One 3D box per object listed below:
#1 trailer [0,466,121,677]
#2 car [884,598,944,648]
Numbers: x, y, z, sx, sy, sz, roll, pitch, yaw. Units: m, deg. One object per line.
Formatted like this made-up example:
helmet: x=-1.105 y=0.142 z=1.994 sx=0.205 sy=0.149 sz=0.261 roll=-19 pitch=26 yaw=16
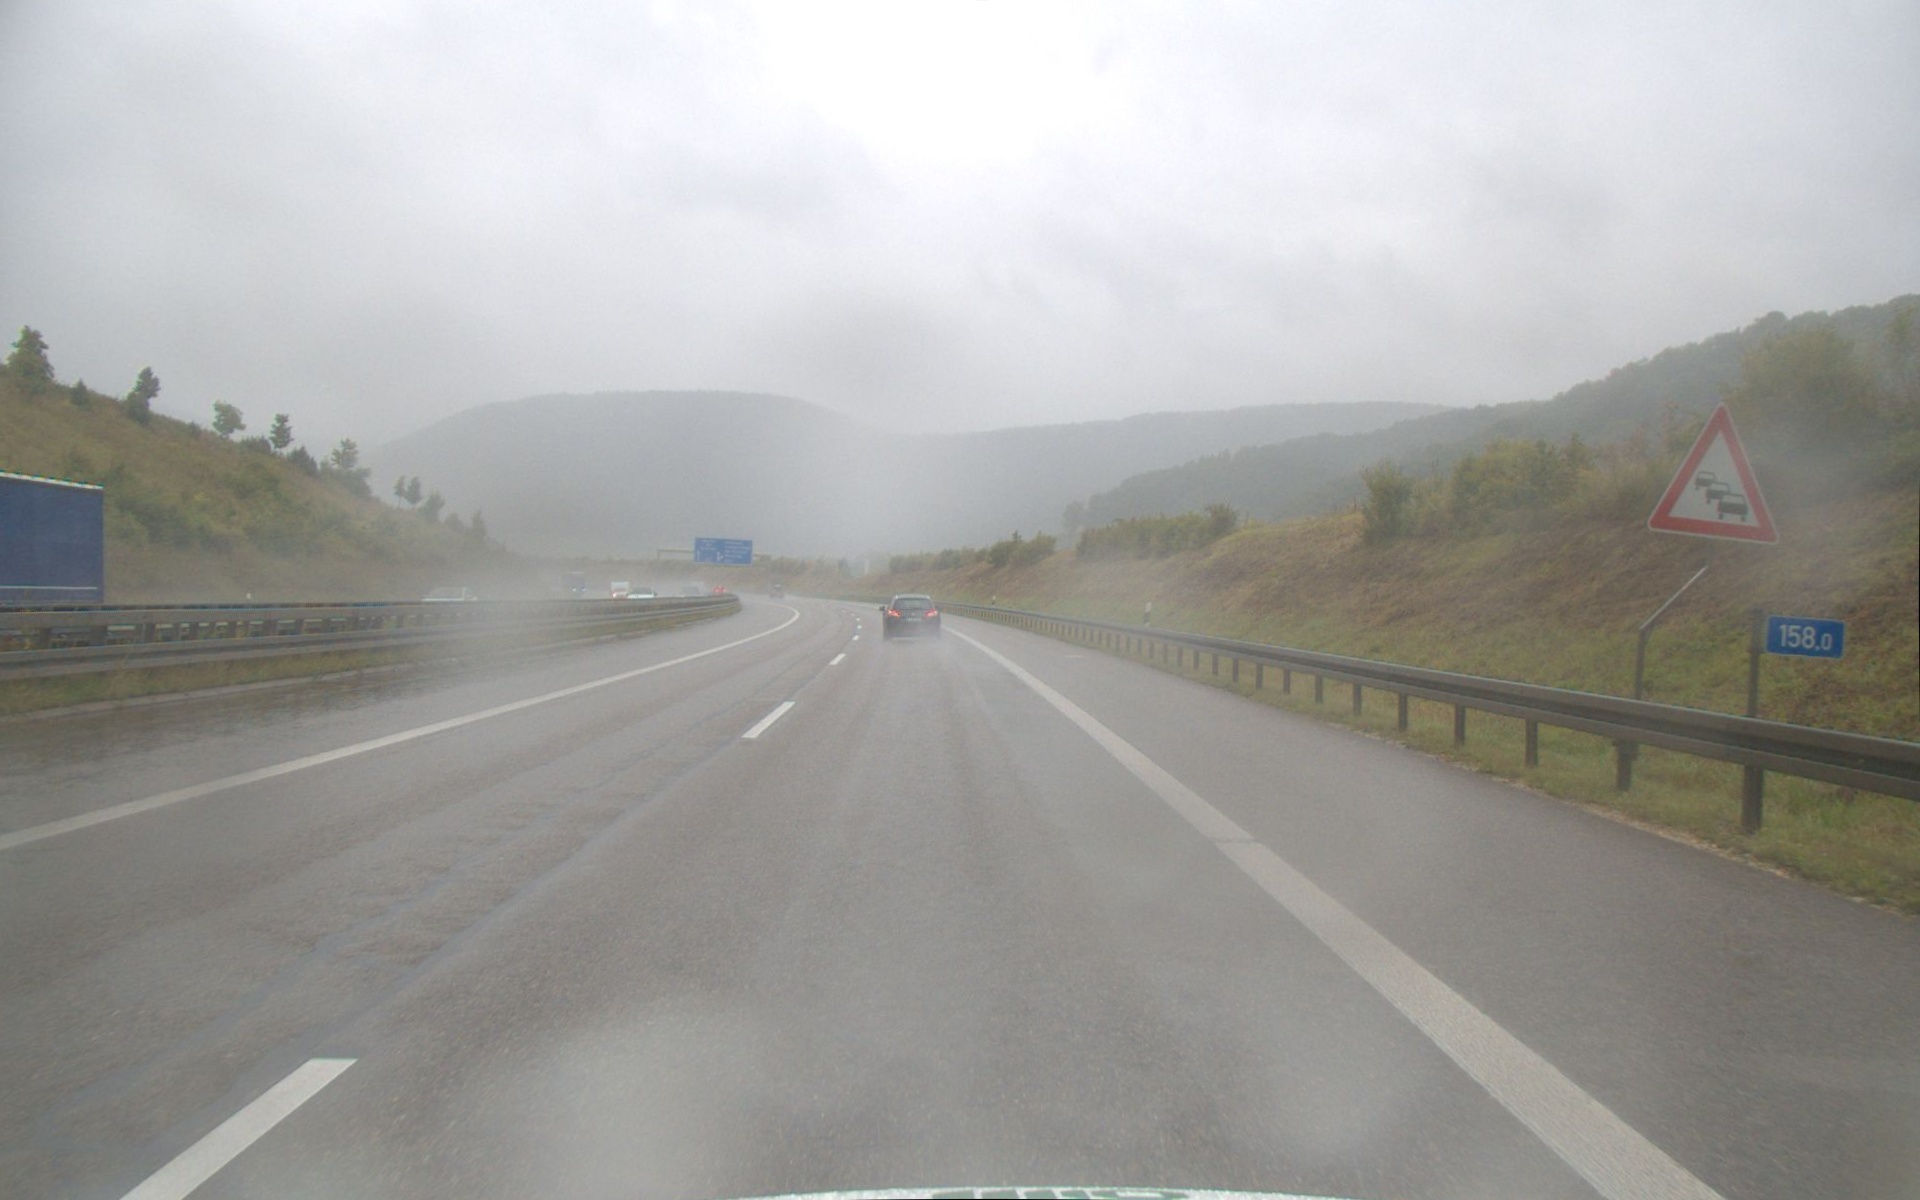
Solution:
trailer: x=-23.471 y=-0.663 z=36.897 sx=2.681 sy=4.869 sz=14.039 roll=0 pitch=0 yaw=-1
car: x=-1.475 y=0.692 z=51.604 sx=1.646 sy=1.498 sz=3.810 roll=0 pitch=0 yaw=-5
